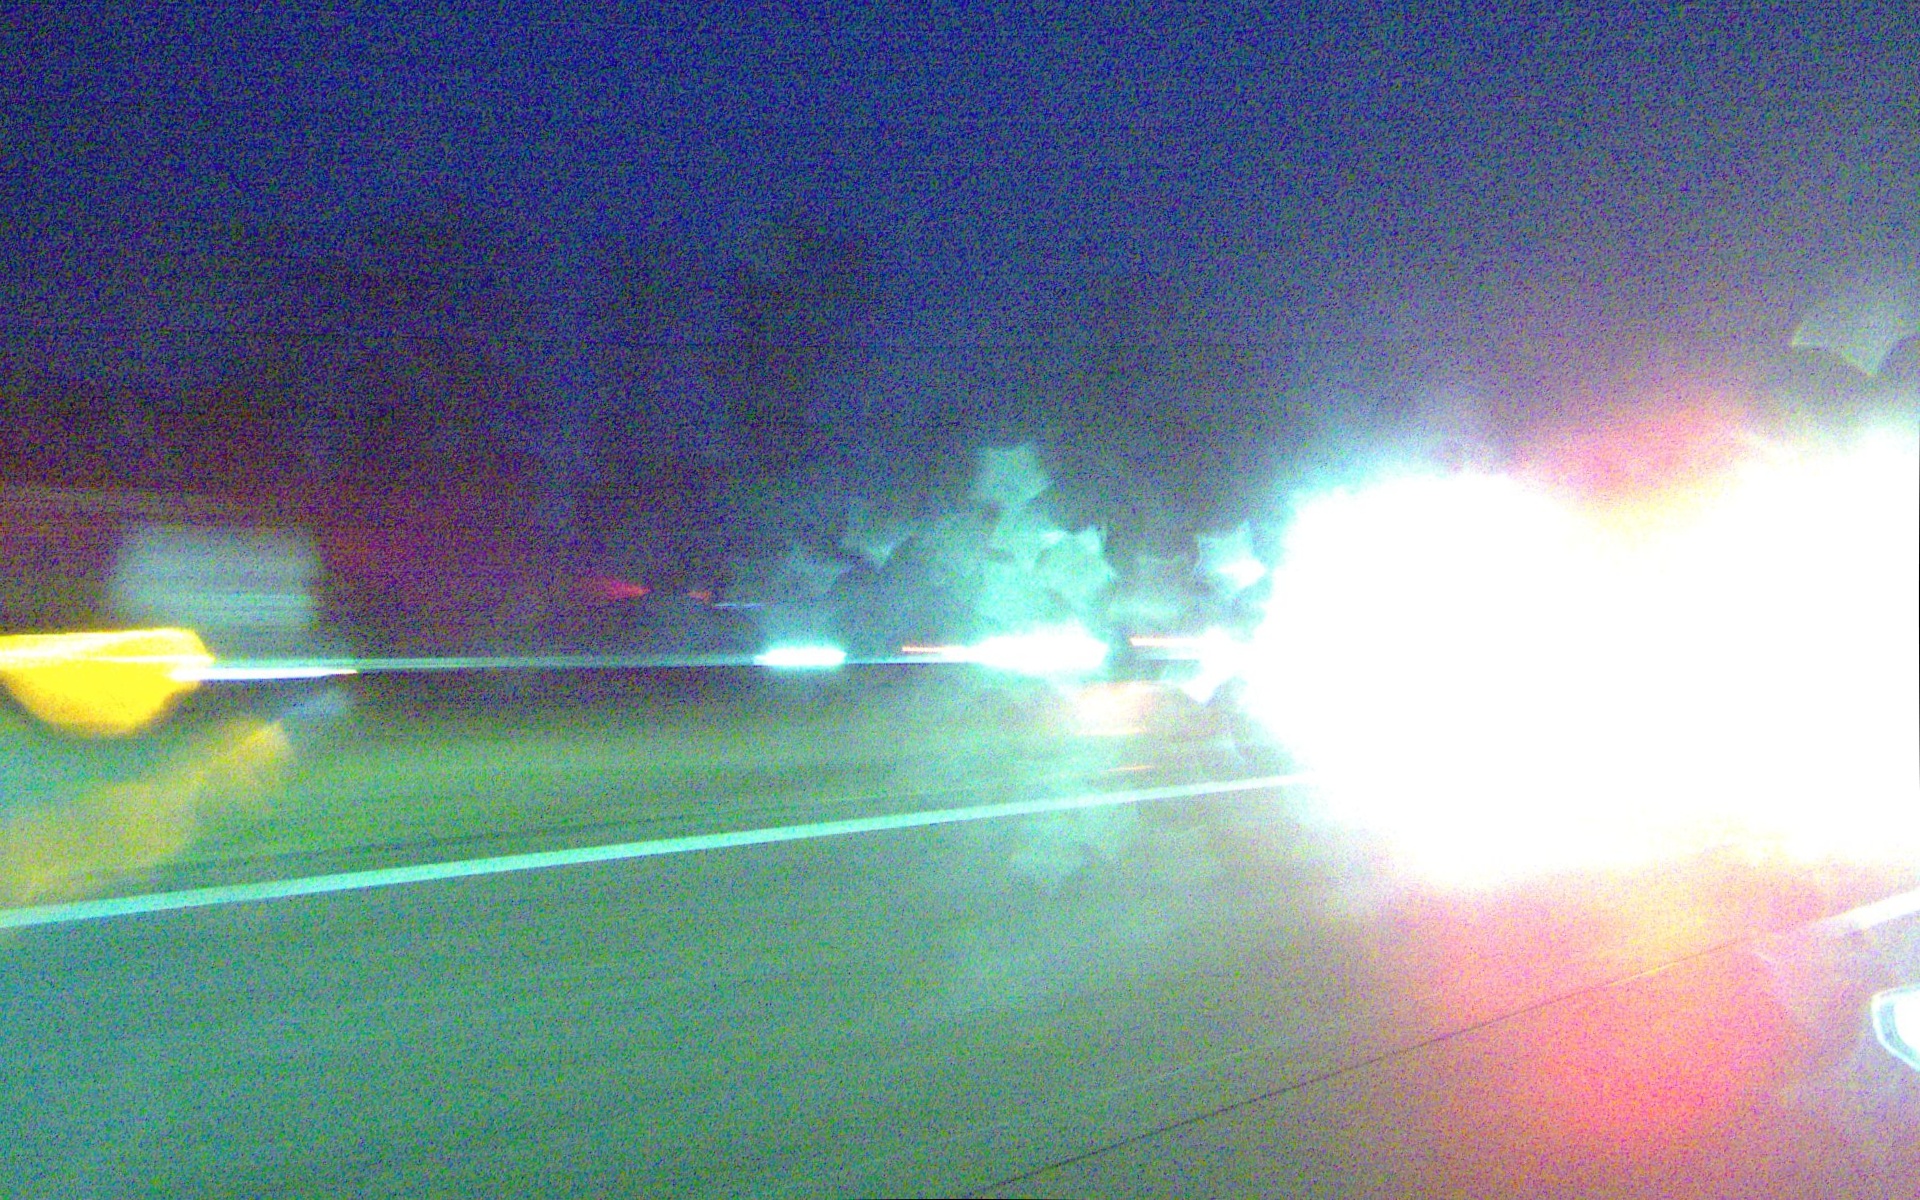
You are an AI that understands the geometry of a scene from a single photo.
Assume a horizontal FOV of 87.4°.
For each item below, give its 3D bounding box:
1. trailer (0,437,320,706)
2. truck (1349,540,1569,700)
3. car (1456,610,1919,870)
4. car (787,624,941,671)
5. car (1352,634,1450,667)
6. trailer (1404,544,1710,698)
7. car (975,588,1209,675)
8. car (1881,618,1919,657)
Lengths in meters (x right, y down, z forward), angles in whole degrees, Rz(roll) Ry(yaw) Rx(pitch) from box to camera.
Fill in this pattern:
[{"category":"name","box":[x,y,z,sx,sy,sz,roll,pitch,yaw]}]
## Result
[{"category":"trailer","box":[-16.153,-0.405,14.123,11.883,3.797,2.683,2,-4,-31]},{"category":"truck","box":[16.870,0.771,33.851,7.487,4.912,2.910,2,-3,-30]},{"category":"car","box":[6.340,0.882,8.179,4.694,1.561,1.850,0,0,-30]},{"category":"car","box":[-3.062,1.554,32.479,4.740,1.442,1.605,2,-4,-30]},{"category":"car","box":[19.455,2.244,44.257,4.539,1.395,1.553,2,-4,-30]},{"category":"trailer","box":[22.315,0.923,36.987,14.406,4.912,2.910,2,-3,-30]},{"category":"car","box":[2.760,0.616,20.796,4.539,1.620,1.984,1,0,-30]},{"category":"car","box":[42.784,1.639,44.279,4.539,1.620,1.984,1,0,-30]}]
